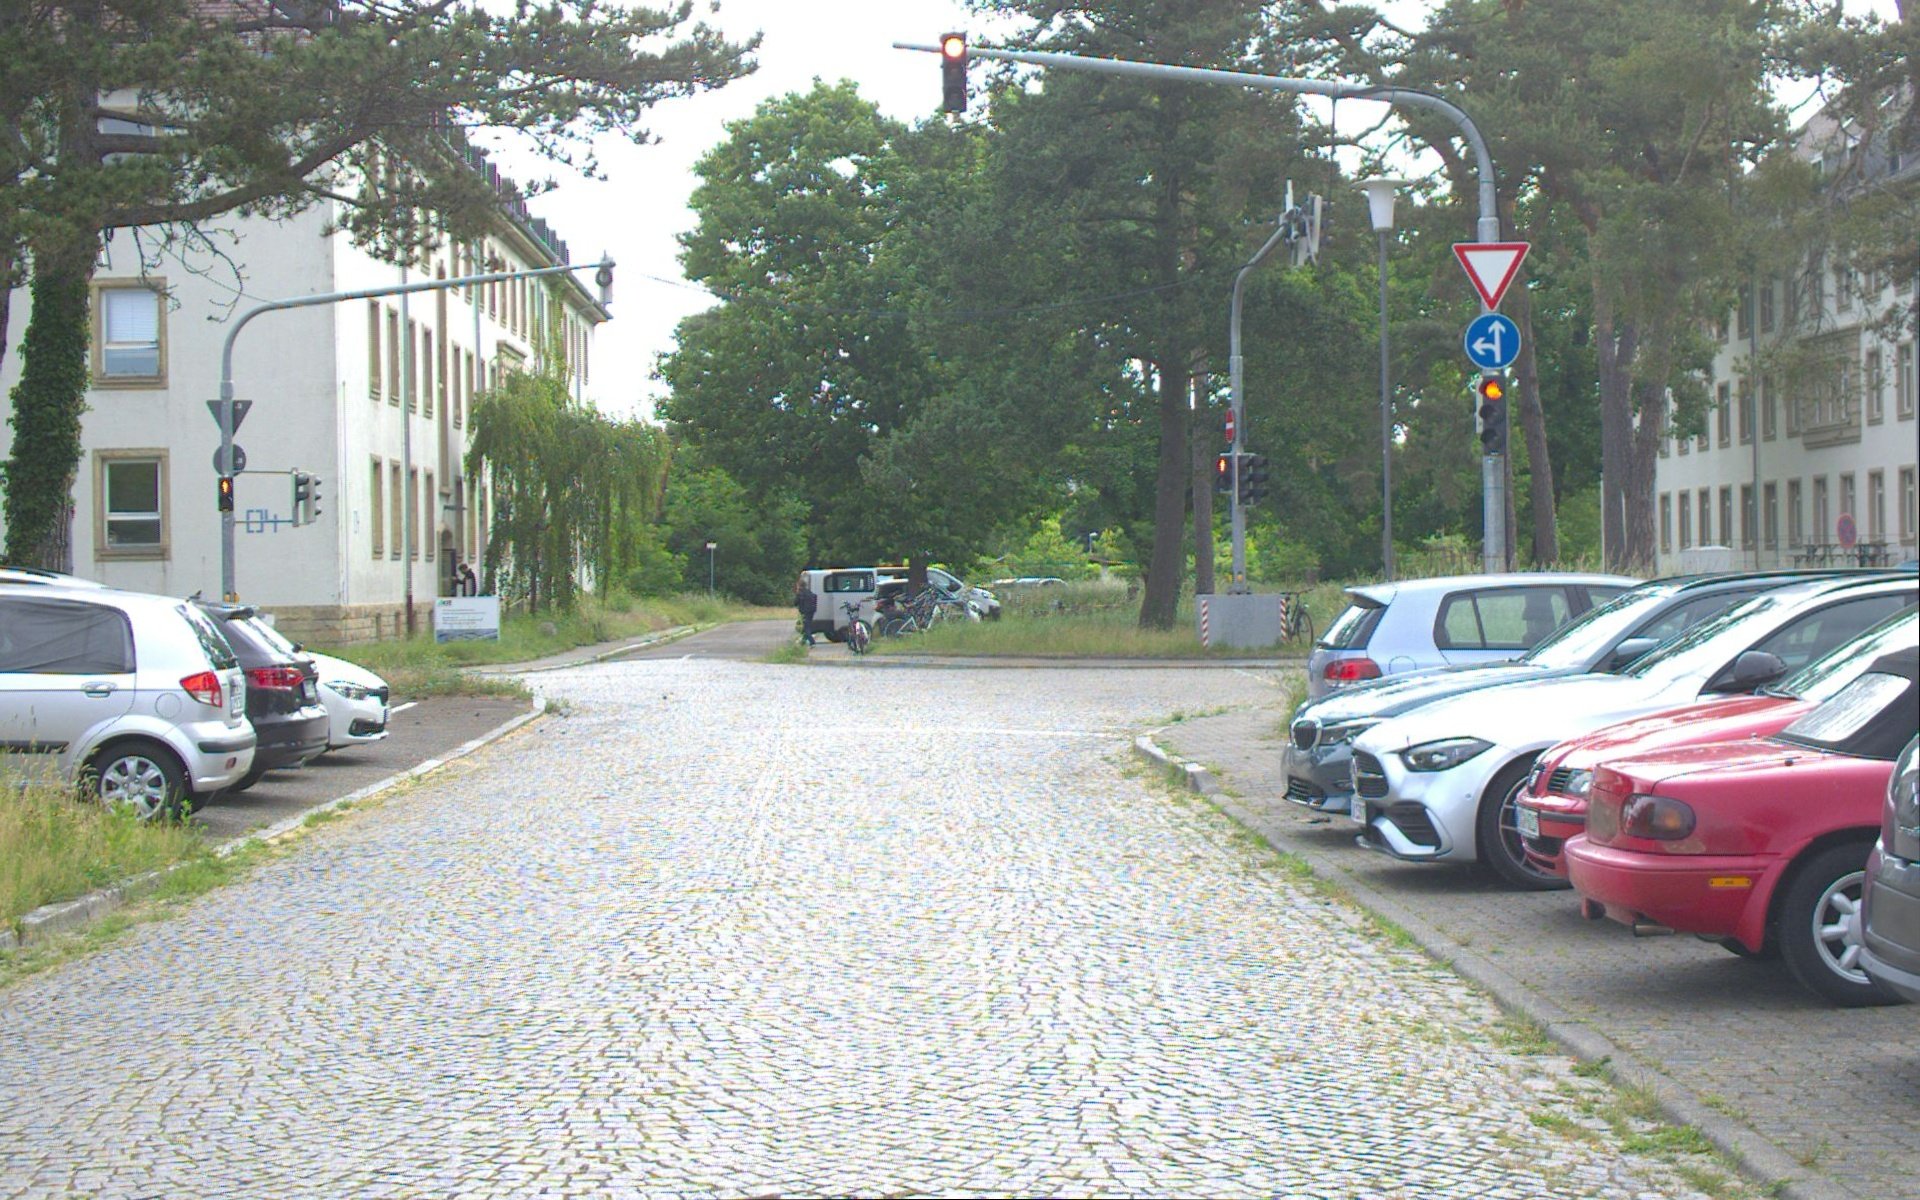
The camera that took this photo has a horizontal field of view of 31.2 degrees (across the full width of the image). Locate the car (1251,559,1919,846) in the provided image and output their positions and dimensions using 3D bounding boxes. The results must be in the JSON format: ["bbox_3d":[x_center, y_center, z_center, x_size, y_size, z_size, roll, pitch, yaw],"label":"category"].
[{"bbox_3d":[4.183,0.542,20.018,4.680,1.412,1.871,-2,1,-3],"label":"car"}]

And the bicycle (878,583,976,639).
[{"bbox_3d":[-0.693,0.225,71.232,1.954,1.129,0.588,-1,0,-8],"label":"bicycle"}]

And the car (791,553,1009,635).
[{"bbox_3d":[-1.574,-0.171,89.303,5.359,1.918,2.025,-2,1,-10],"label":"car"}]

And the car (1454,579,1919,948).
[{"bbox_3d":[4.476,0.618,15.067,4.261,1.412,1.871,-2,1,-1],"label":"car"}]

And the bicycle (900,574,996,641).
[{"bbox_3d":[-0.257,0.152,72.705,1.954,1.379,0.588,-1,0,-8],"label":"bicycle"}]

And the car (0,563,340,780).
[{"bbox_3d":[-6.946,0.517,26.828,3.947,1.558,1.650,2,0,-4],"label":"car"}]

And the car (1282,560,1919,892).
[{"bbox_3d":[4.041,0.554,17.327,4.421,1.412,1.871,-3,1,-10],"label":"car"}]

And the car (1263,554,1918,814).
[{"bbox_3d":[4.041,0.520,22.467,3.927,1.472,1.642,-2,1,0],"label":"car"}]

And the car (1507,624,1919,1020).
[{"bbox_3d":[4.110,0.705,12.512,3.862,1.232,1.758,-2,1,-2],"label":"car"}]

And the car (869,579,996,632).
[{"bbox_3d":[-0.692,0.120,85.946,3.005,1.264,1.535,-1,0,-7],"label":"car"}]

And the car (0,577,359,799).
[{"bbox_3d":[-6.196,0.576,24.063,3.745,1.424,1.583,2,0,-4],"label":"car"}]

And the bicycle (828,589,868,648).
[{"bbox_3d":[-2.212,0.365,68.007,0.603,1.129,1.962,-1,1,-7],"label":"bicycle"}]

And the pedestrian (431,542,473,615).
[{"bbox_3d":[-12.815,-0.547,86.738,0.774,1.831,0.741,-1,0,-33],"label":"pedestrian"}]

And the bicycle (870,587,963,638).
[{"bbox_3d":[-0.922,0.258,73.346,1.955,1.066,0.588,-1,1,-31],"label":"bicycle"}]

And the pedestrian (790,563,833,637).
[{"bbox_3d":[-3.272,-0.004,75.906,0.738,1.613,0.776,-1,0,-18],"label":"pedestrian"}]

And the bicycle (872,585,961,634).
[{"bbox_3d":[-0.990,0.210,78.382,1.955,1.066,0.588,-1,0,-26],"label":"bicycle"}]

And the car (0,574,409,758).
[{"bbox_3d":[-6.817,0.536,29.374,3.947,1.417,1.650,2,0,-2],"label":"car"}]

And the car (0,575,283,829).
[{"bbox_3d":[-6.223,0.581,21.464,3.702,1.474,1.583,2,0,-4],"label":"car"}]

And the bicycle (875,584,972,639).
[{"bbox_3d":[-0.774,0.244,71.864,1.954,1.113,0.588,-1,0,-8],"label":"bicycle"}]

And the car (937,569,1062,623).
[{"bbox_3d":[1.053,-0.115,93.236,3.231,1.411,1.725,-1,0,-4],"label":"car"}]

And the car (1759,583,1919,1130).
[{"bbox_3d":[4.493,0.626,9.955,3.862,1.467,1.758,-2,1,-2],"label":"car"}]

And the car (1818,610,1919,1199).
[{"bbox_3d":[3.971,0.690,7.072,3.862,1.467,1.758,-2,1,-5],"label":"car"}]

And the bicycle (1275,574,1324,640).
[{"bbox_3d":[5.838,0.116,59.243,0.586,1.102,1.961,-1,1,-2],"label":"bicycle"}]
